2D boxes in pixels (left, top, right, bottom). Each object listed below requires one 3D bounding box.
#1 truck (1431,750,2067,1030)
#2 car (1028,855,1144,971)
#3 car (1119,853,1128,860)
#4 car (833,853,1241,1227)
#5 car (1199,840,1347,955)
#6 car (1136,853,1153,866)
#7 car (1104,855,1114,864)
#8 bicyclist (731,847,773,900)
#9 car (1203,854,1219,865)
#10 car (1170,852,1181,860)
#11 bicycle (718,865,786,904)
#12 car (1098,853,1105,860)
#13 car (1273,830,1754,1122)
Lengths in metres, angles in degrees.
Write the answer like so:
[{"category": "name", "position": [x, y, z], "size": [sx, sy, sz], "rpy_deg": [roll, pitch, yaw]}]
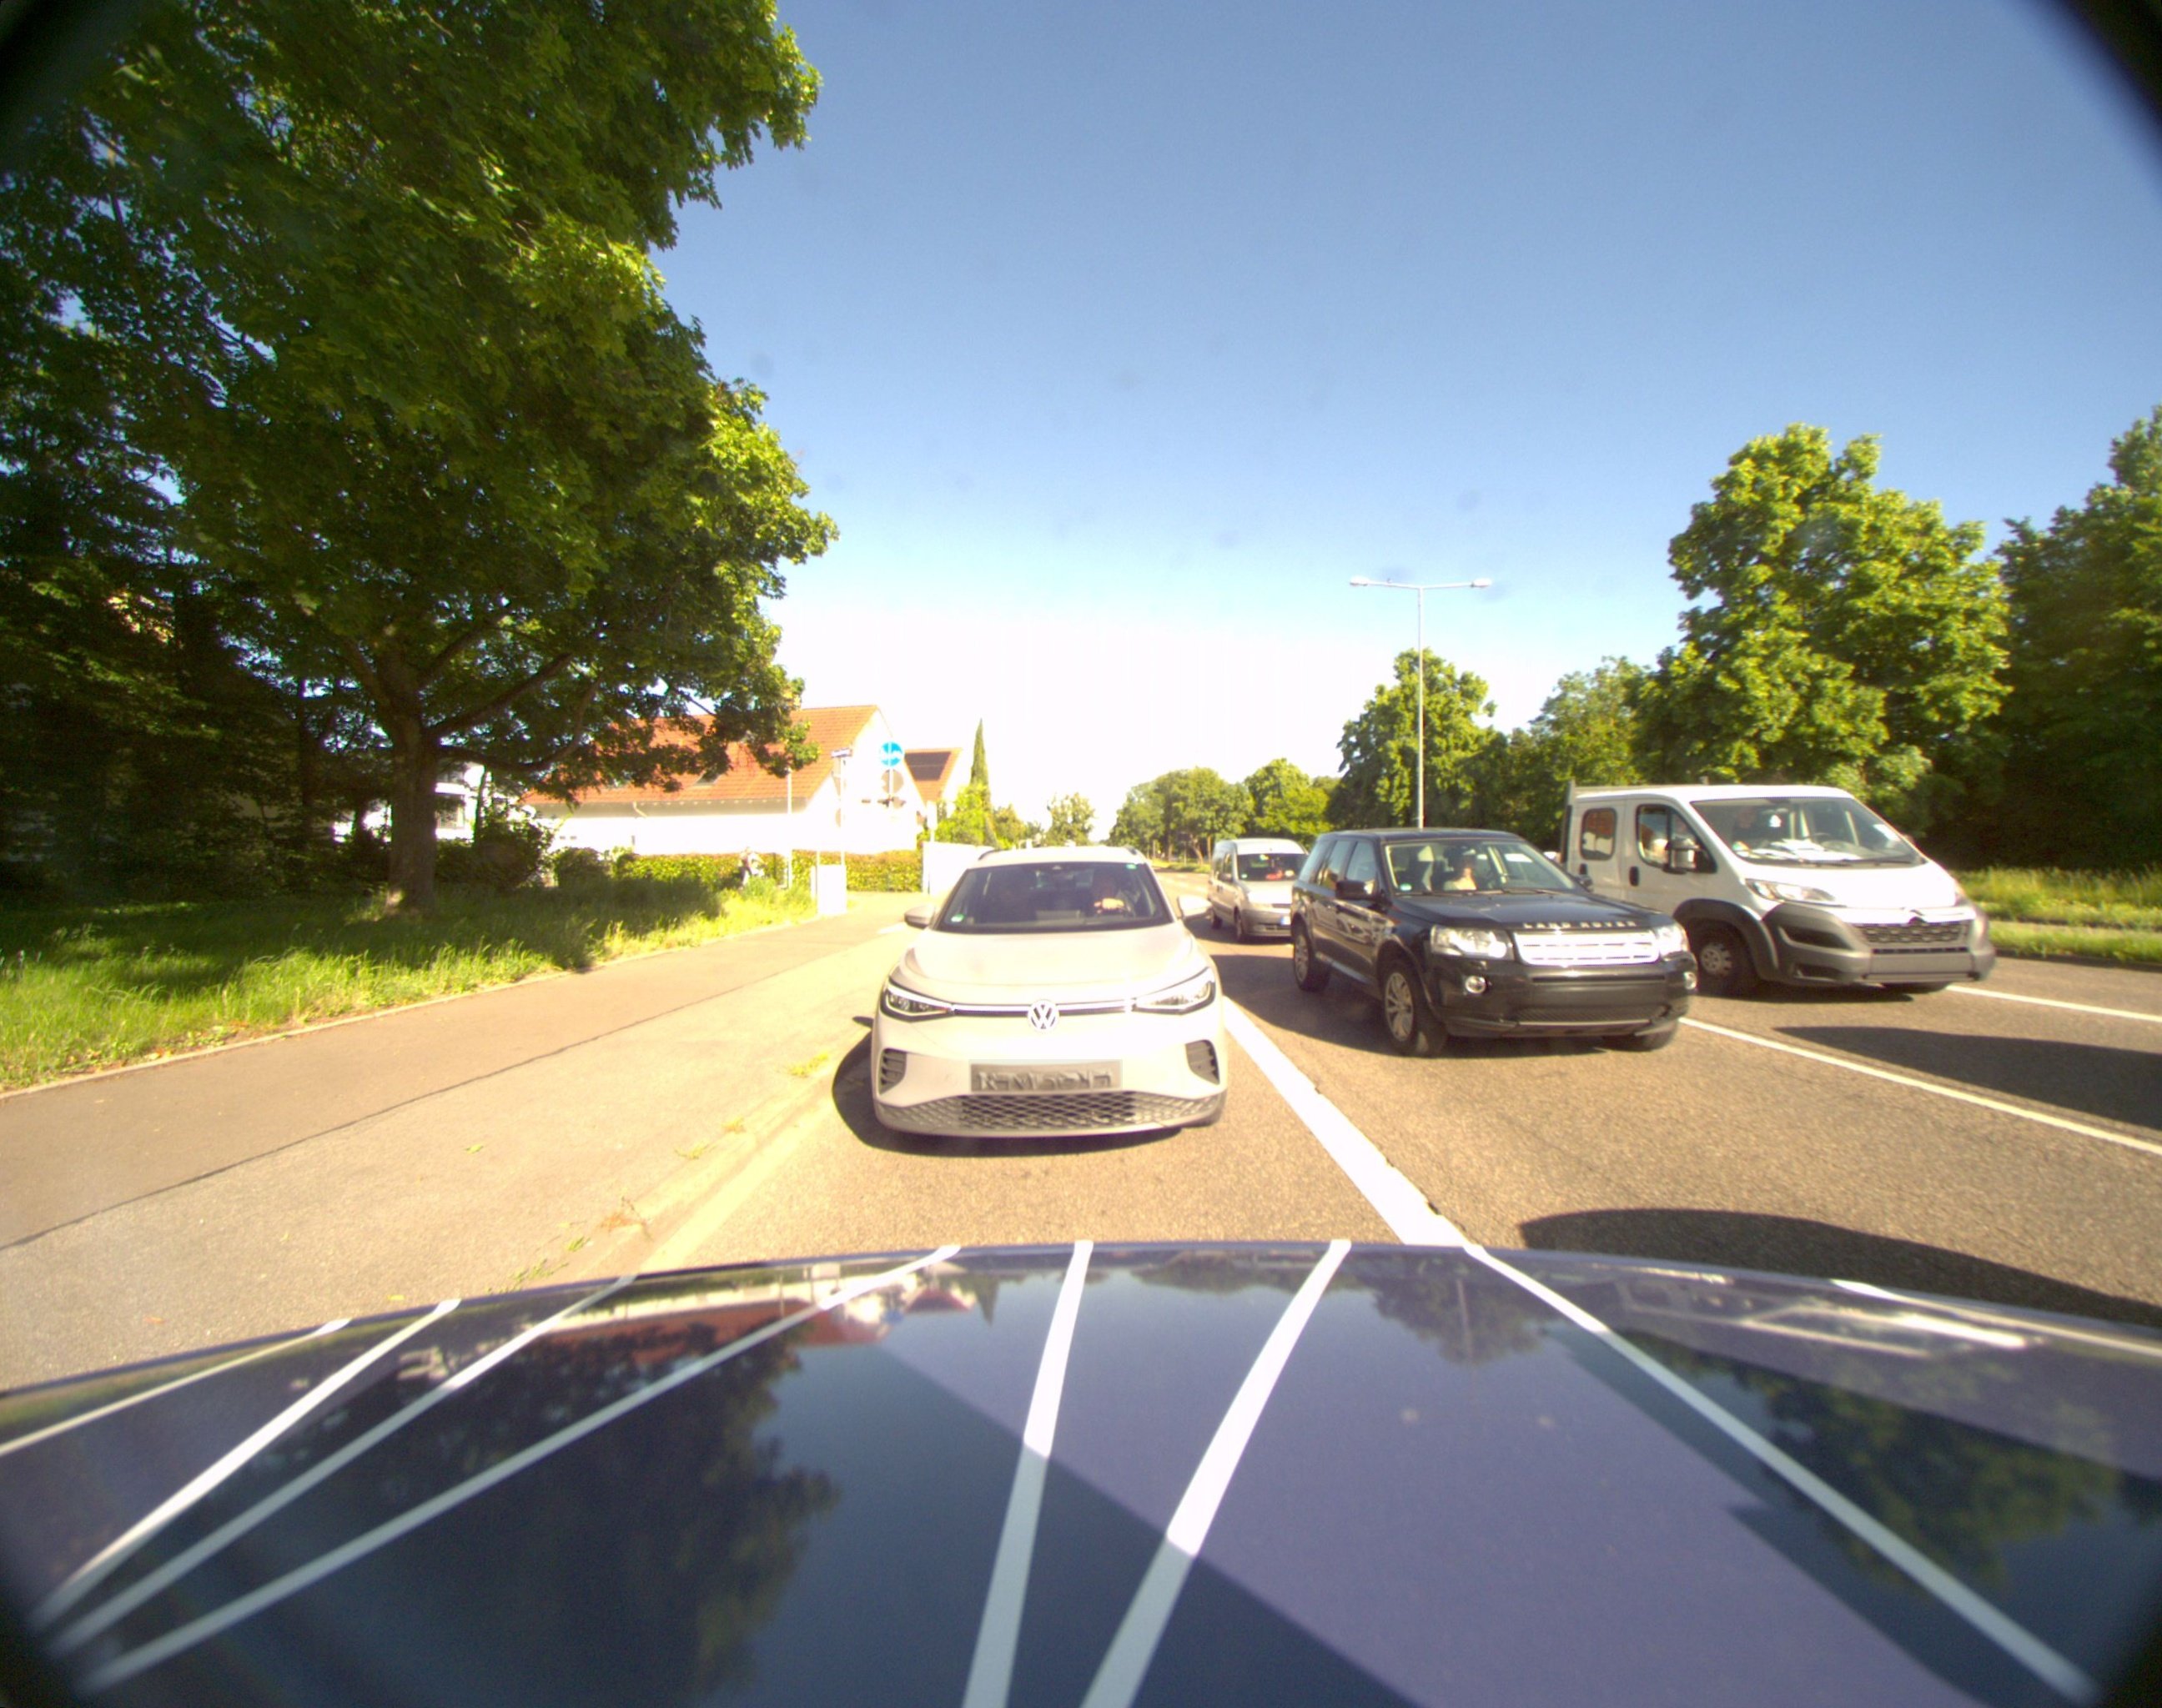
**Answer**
[{"category": "truck", "position": [7.207, 0.270, 9.817], "size": [2.185, 2.307, 6.842], "rpy_deg": [-2, 1, 0]}, {"category": "car", "position": [0.103, 0.866, 13.015], "size": [1.632, 1.586, 4.024], "rpy_deg": [-2, 1, 1]}, {"category": "car", "position": [9.165, 0.501, 163.948], "size": [1.727, 1.436, 4.000], "rpy_deg": [0, 0, -1]}, {"category": "car", "position": [-0.175, 0.849, 5.571], "size": [1.858, 1.679, 4.206], "rpy_deg": [0, 1, 1]}, {"category": "car", "position": [3.319, 0.654, 13.961], "size": [1.632, 1.741, 4.386], "rpy_deg": [-2, 1, 1]}, {"category": "car", "position": [7.521, 0.594, 90.512], "size": [1.704, 1.466, 3.931], "rpy_deg": [-1, 0, 0]}, {"category": "car", "position": [4.690, 0.948, 127.890], "size": [1.630, 1.466, 3.931], "rpy_deg": [0, 0, 0]}, {"category": "bicyclist", "position": [-10.281, 0.602, 23.764], "size": [0.995, 1.572, 0.581], "rpy_deg": [3, 1, 16]}, {"category": "car", "position": [20.559, 0.878, 119.923], "size": [1.878, 1.674, 4.000], "rpy_deg": [0, 0, 1]}, {"category": "car", "position": [20.524, 0.387, 164.888], "size": [1.792, 1.674, 4.000], "rpy_deg": [0, 0, 1]}, {"category": "bicycle", "position": [-10.298, 0.954, 23.768], "size": [1.983, 1.091, 0.581], "rpy_deg": [3, 1, 16]}, {"category": "car", "position": [4.970, 0.586, 187.284], "size": [1.726, 1.630, 4.000], "rpy_deg": [0, 0, 1]}, {"category": "car", "position": [3.160, 0.715, 6.766], "size": [1.816, 1.721, 4.386], "rpy_deg": [-2, 1, 1]}]
